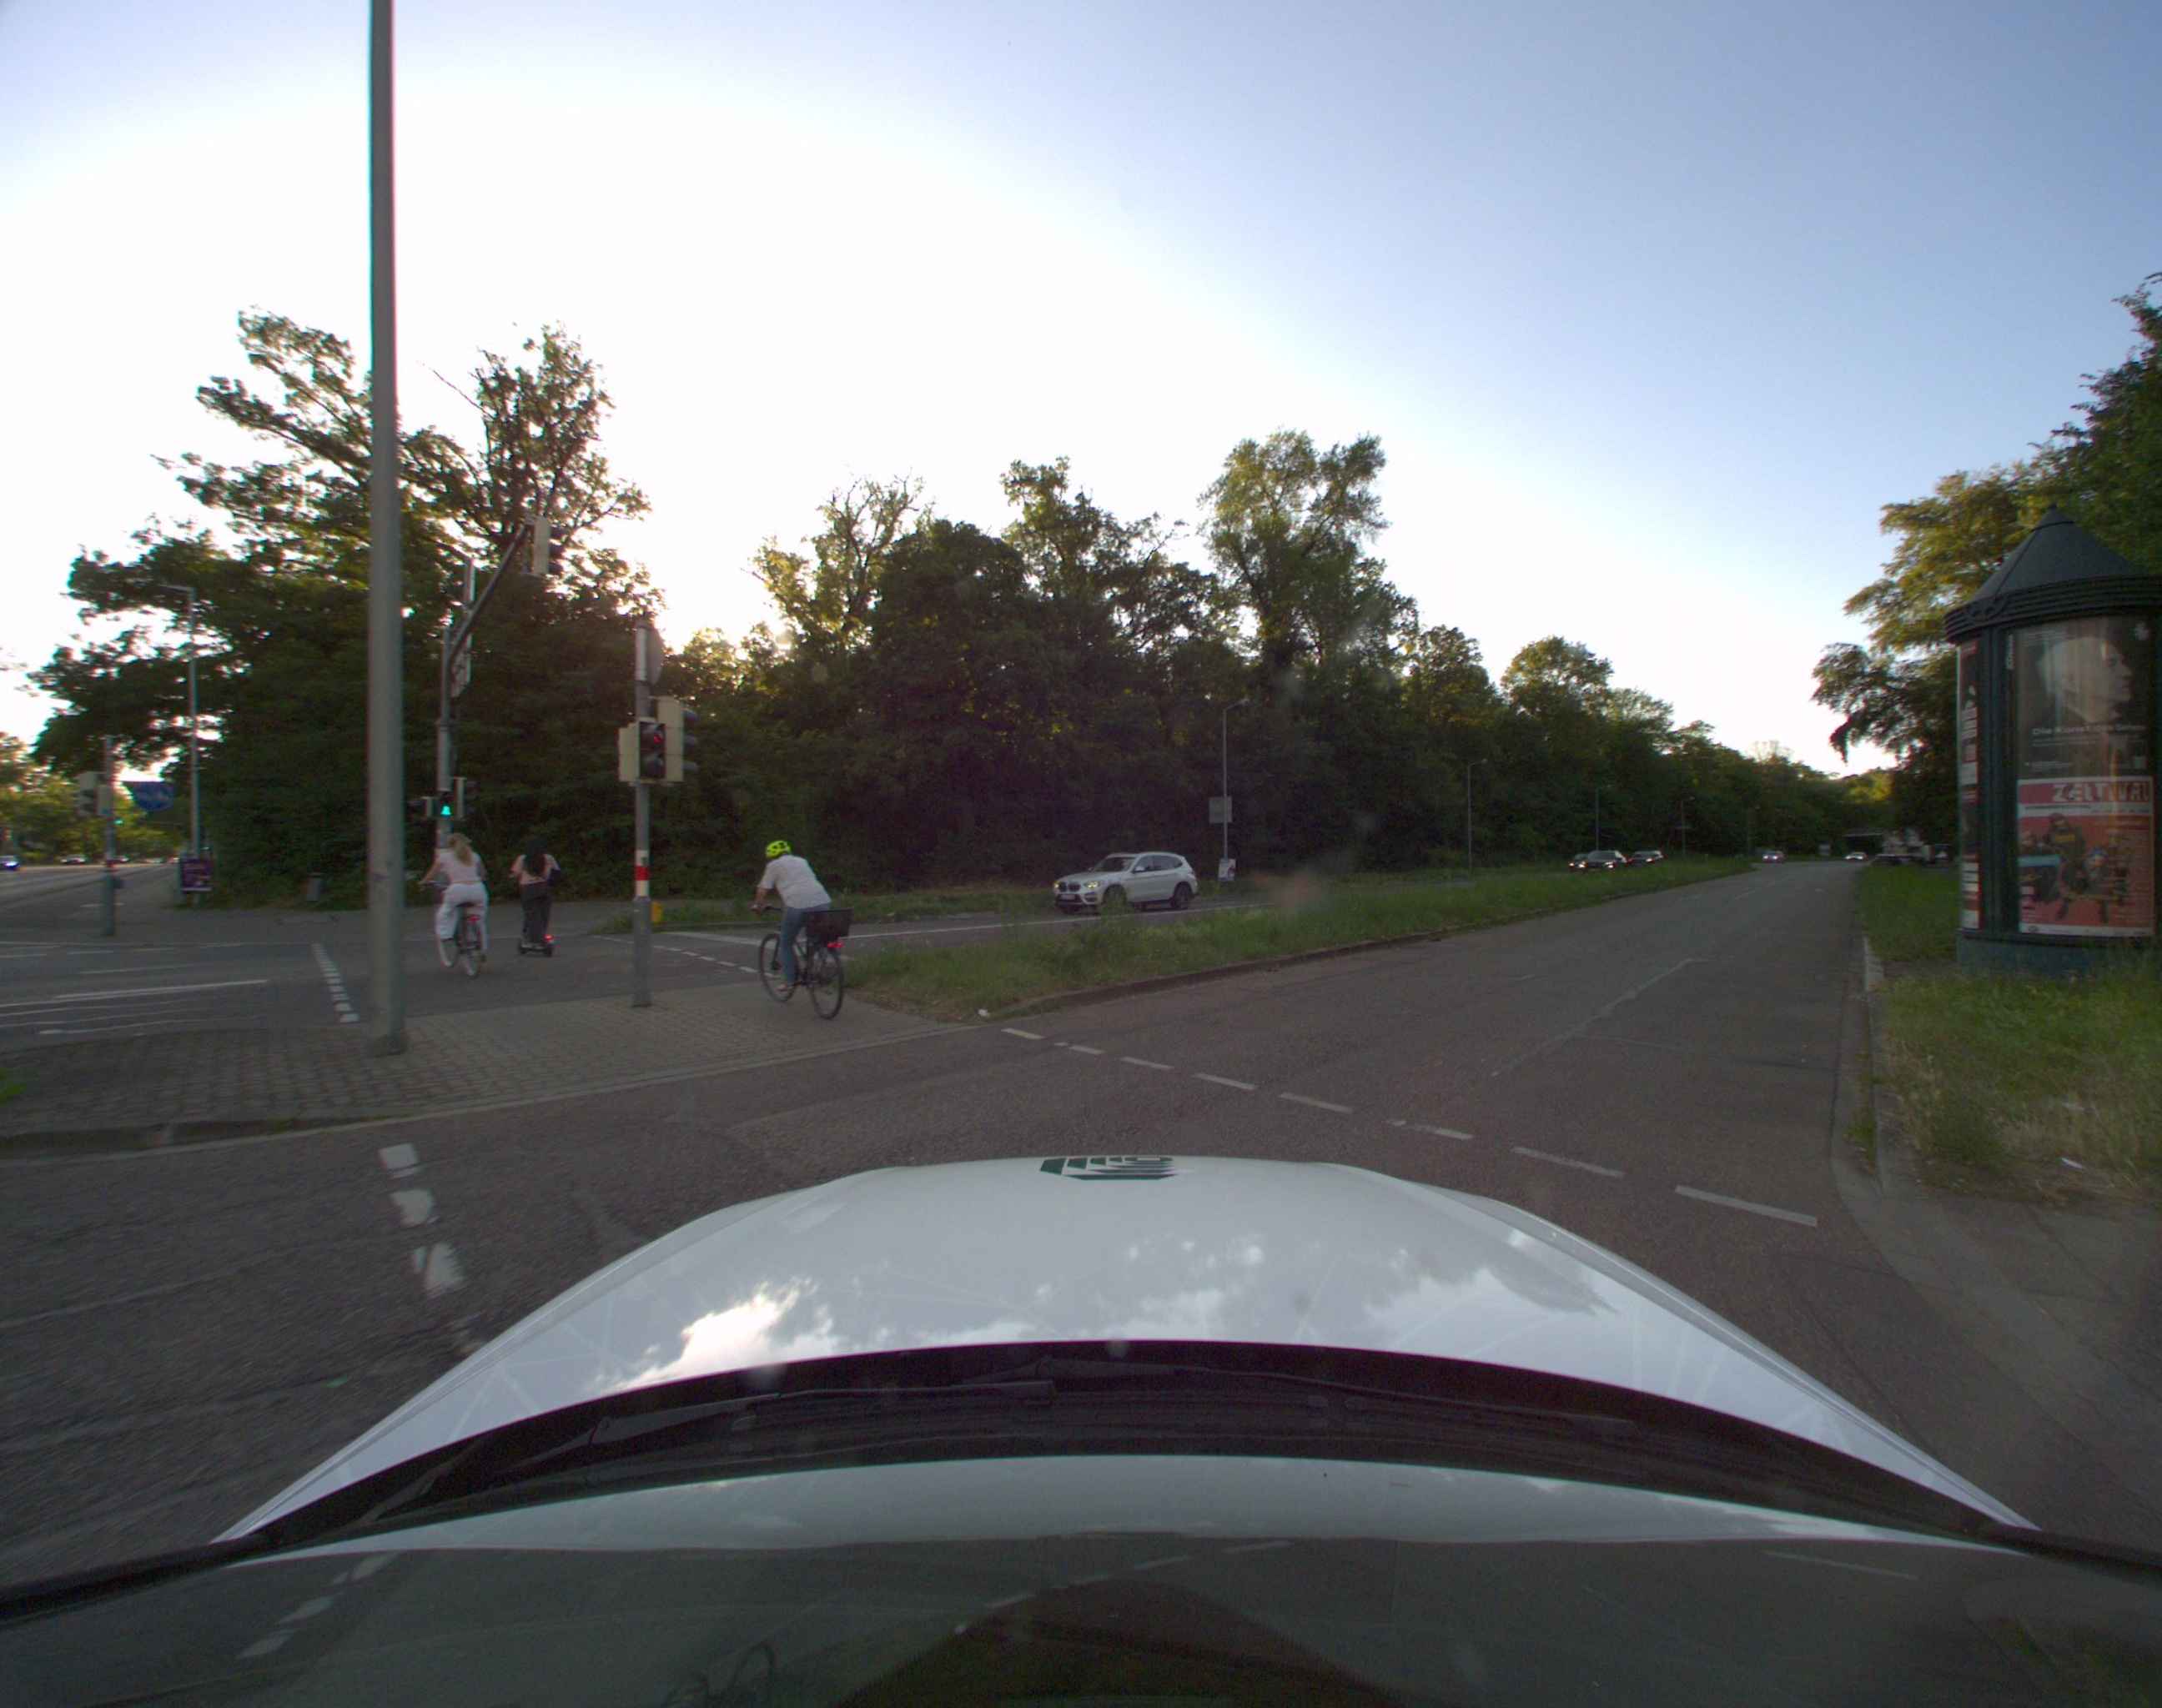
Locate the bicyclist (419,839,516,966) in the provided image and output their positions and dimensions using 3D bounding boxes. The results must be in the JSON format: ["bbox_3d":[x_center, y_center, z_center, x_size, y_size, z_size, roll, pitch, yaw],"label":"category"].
[{"bbox_3d":[-7.785,0.583,10.342,0.845,1.518,0.767,0,-1,37],"label":"bicyclist"}]

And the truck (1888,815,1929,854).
[{"bbox_3d":[90.079,-2.083,88.617,9.774,4.027,2.635,0,0,-42],"label":"truck"}]

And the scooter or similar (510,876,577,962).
[{"bbox_3d":[-7.973,0.924,12.065,0.567,1.189,1.404,0,-1,-45],"label":"scooter or similar"}]

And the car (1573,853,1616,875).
[{"bbox_3d":[37.850,0.726,59.941,1.806,1.480,4.258,-3,-2,44],"label":"car"}]

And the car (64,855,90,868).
[{"bbox_3d":[-130.065,1.028,105.537,3.949,1.640,2.012,0,0,41],"label":"car"}]

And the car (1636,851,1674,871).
[{"bbox_3d":[49.447,0.567,70.117,1.975,1.627,4.679,-3,-2,44],"label":"car"}]

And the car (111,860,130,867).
[{"bbox_3d":[-168.944,1.710,143.250,3.949,1.266,2.012,0,0,42],"label":"car"}]

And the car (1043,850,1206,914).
[{"bbox_3d":[1.303,0.747,22.897,4.667,1.613,1.805,0,-2,-43],"label":"car"}]

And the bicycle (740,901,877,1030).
[{"bbox_3d":[-2.675,1.012,7.878,0.568,1.014,1.780,0,0,-43],"label":"bicycle"}]

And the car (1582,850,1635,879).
[{"bbox_3d":[31.379,0.631,48.381,1.797,1.627,4.477,-3,-2,44],"label":"car"}]

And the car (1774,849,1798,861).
[{"bbox_3d":[90.142,0.134,104.107,3.832,1.458,1.975,2,-2,-44],"label":"car"}]

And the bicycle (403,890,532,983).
[{"bbox_3d":[-7.843,0.995,10.379,1.990,1.007,0.778,0,-1,37],"label":"bicycle"}]

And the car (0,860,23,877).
[{"bbox_3d":[-96.859,1.305,73.330,3.727,1.474,1.787,0,0,40],"label":"car"}]

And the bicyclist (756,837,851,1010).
[{"bbox_3d":[-2.706,0.632,7.912,0.559,1.569,0.888,0,0,-43],"label":"bicyclist"}]

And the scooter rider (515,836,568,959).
[{"bbox_3d":[-8.034,0.627,12.121,0.570,1.766,0.499,0,-1,-45],"label":"scooter rider"}]
